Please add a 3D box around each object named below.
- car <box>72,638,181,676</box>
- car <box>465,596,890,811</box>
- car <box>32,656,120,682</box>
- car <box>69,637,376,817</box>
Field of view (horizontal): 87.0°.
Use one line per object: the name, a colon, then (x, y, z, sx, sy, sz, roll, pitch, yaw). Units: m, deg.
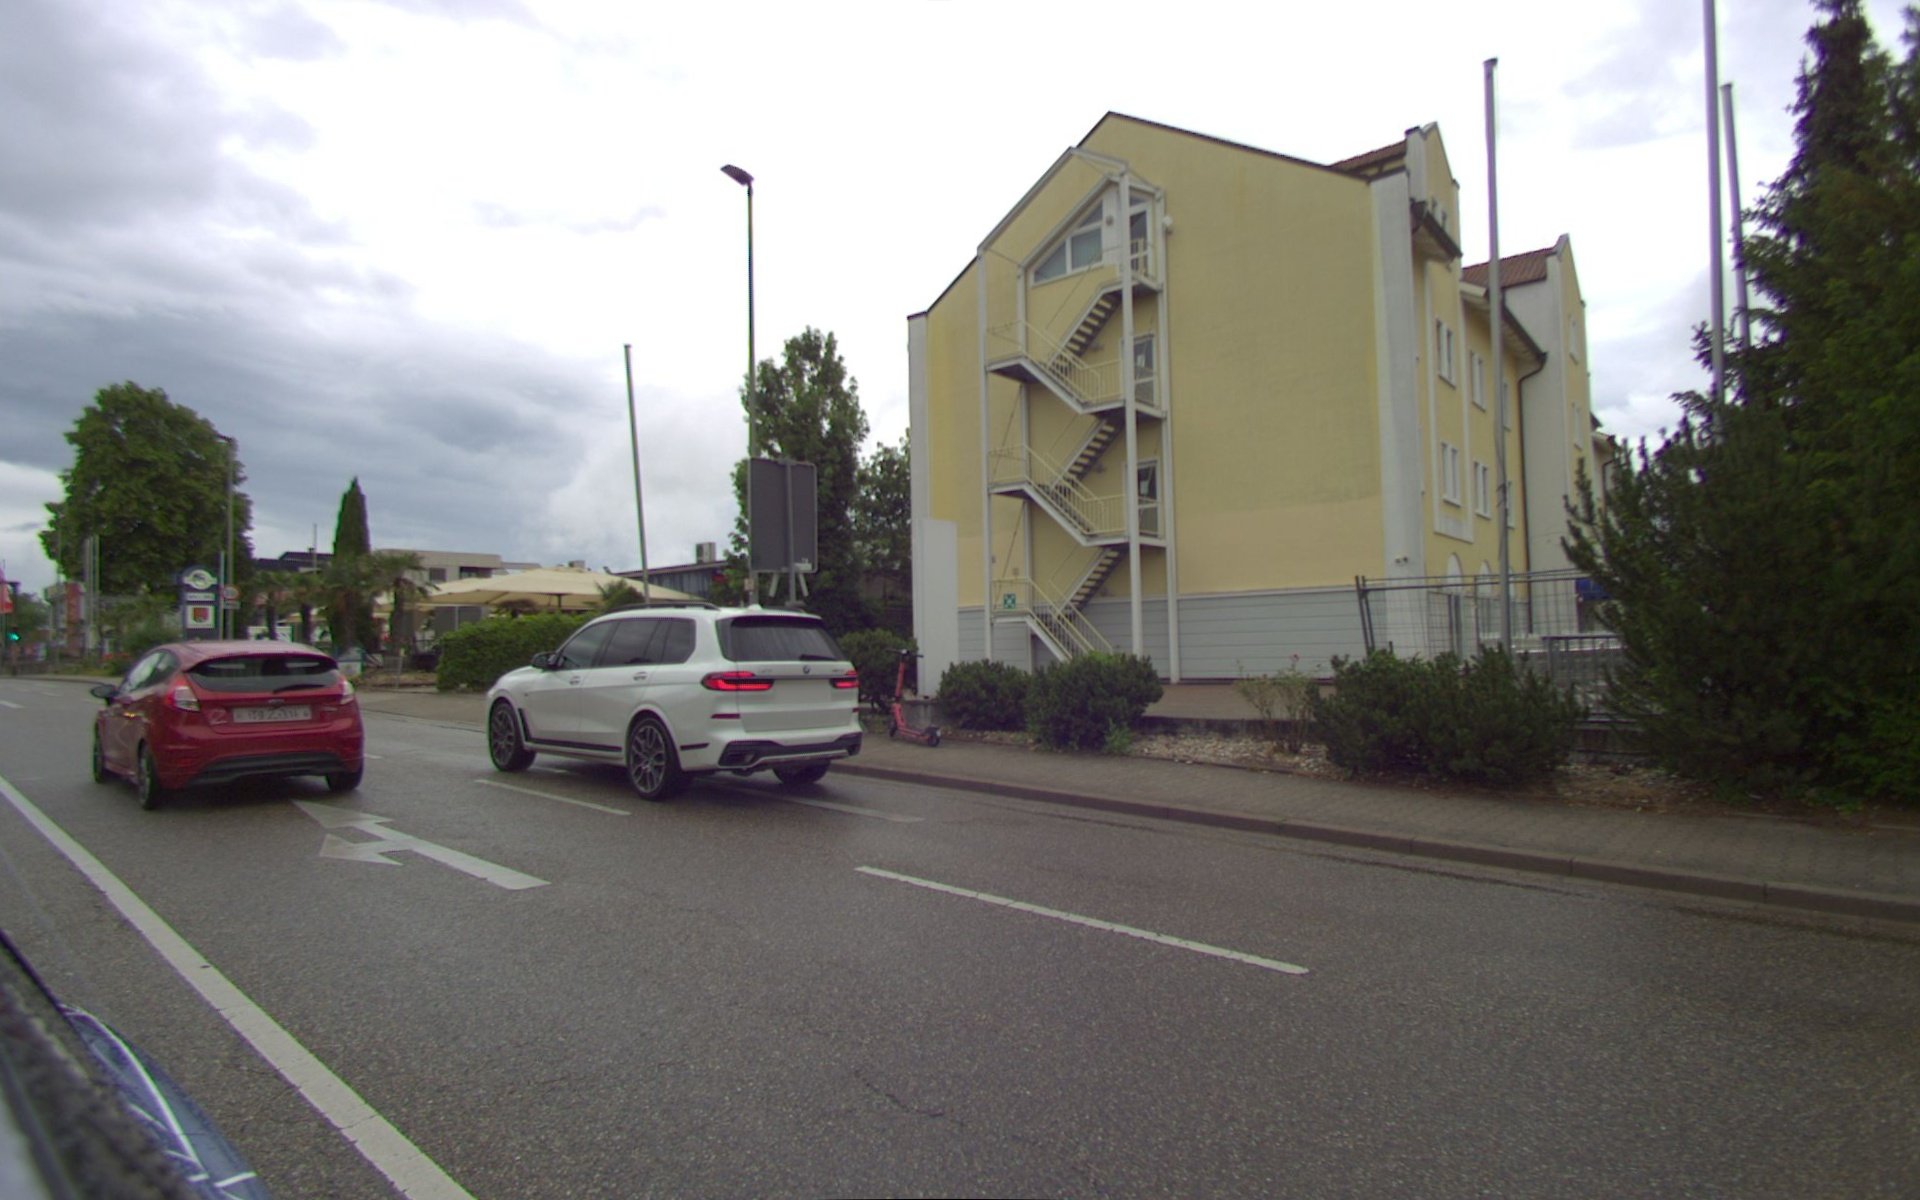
car: (-46.520, 3.226, 56.598, 1.980, 2.029, 4.381, -2, -5, 13)
car: (-3.225, 0.982, 10.834, 5.142, 1.776, 1.896, -2, -5, 42)
car: (-52.675, 4.096, 60.346, 3.556, 1.515, 1.670, 1, -3, -20)
car: (-7.395, 1.115, 10.015, 3.840, 1.430, 1.663, -2, -5, 42)
